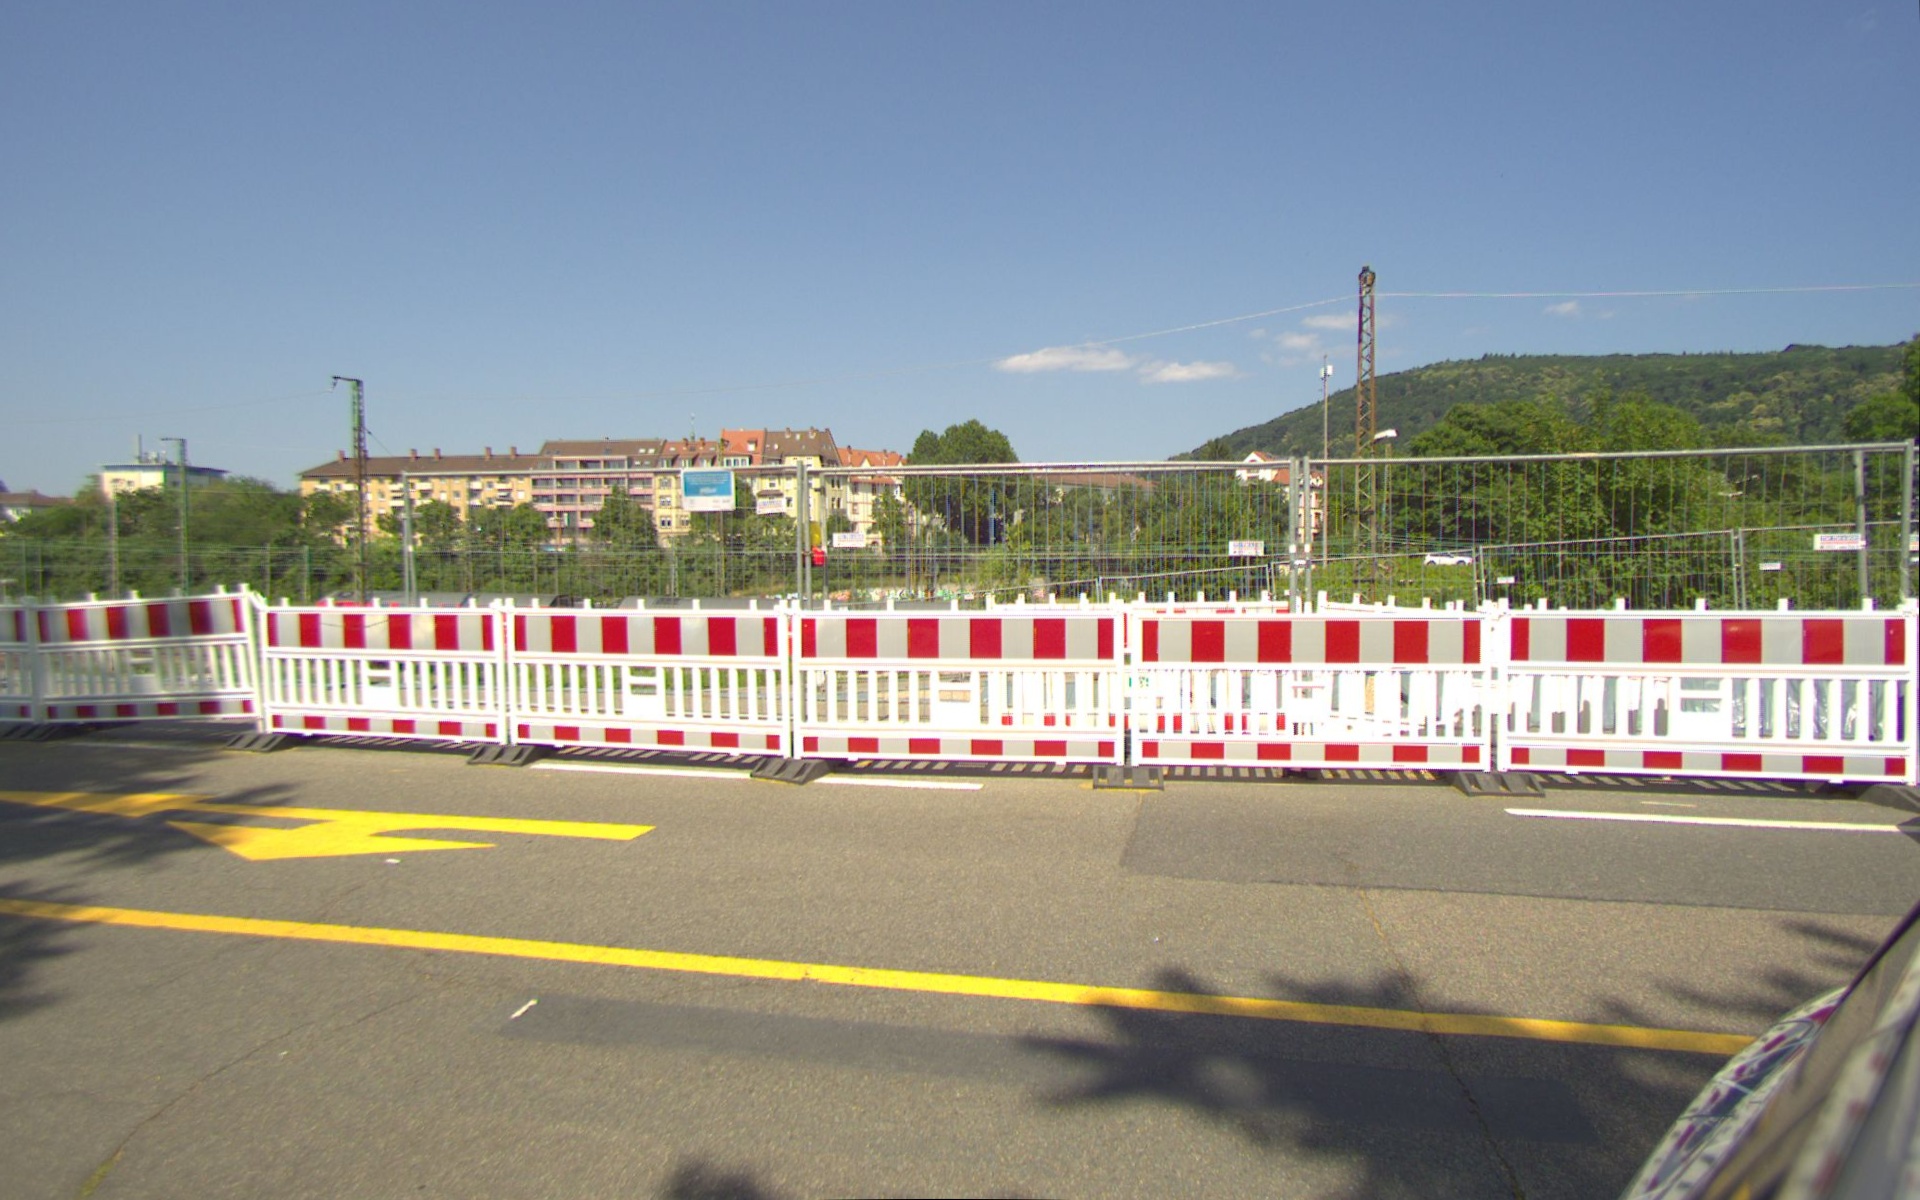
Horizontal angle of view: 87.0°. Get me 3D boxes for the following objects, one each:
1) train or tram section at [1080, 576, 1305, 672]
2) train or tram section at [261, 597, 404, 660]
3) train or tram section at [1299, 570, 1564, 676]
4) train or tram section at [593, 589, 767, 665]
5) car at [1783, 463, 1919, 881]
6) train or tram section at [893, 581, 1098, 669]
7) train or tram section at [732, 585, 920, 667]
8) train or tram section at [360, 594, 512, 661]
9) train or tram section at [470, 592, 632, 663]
[{"bbox_3d":[9.733,0.979,42.567,8.870,3.761,3.001,-1,0,23],"label":"train or tram section"},{"bbox_3d":[-39.268,1.749,63.272,8.866,3.751,3.002,-1,0,22],"label":"train or tram section"},{"bbox_3d":[17.877,0.866,39.073,8.869,3.748,3.001,-1,0,23],"label":"train or tram section"},{"bbox_3d":[-14.732,1.377,53.074,8.870,3.751,3.001,-1,0,23],"label":"train or tram section"},{"bbox_3d":[6.221,0.278,3.395,4.954,1.665,1.993,0,2,13],"label":"car"},{"bbox_3d":[1.565,1.106,46.060,8.870,3.759,3.001,-1,0,23],"label":"train or tram section"},{"bbox_3d":[-6.595,1.222,49.561,8.870,3.751,3.001,-1,0,23],"label":"train or tram section"},{"bbox_3d":[-31.058,1.617,59.900,8.866,3.751,3.002,-1,0,22],"label":"train or tram section"},{"bbox_3d":[-22.873,1.512,56.516,8.866,3.751,3.002,-1,0,22],"label":"train or tram section"}]
